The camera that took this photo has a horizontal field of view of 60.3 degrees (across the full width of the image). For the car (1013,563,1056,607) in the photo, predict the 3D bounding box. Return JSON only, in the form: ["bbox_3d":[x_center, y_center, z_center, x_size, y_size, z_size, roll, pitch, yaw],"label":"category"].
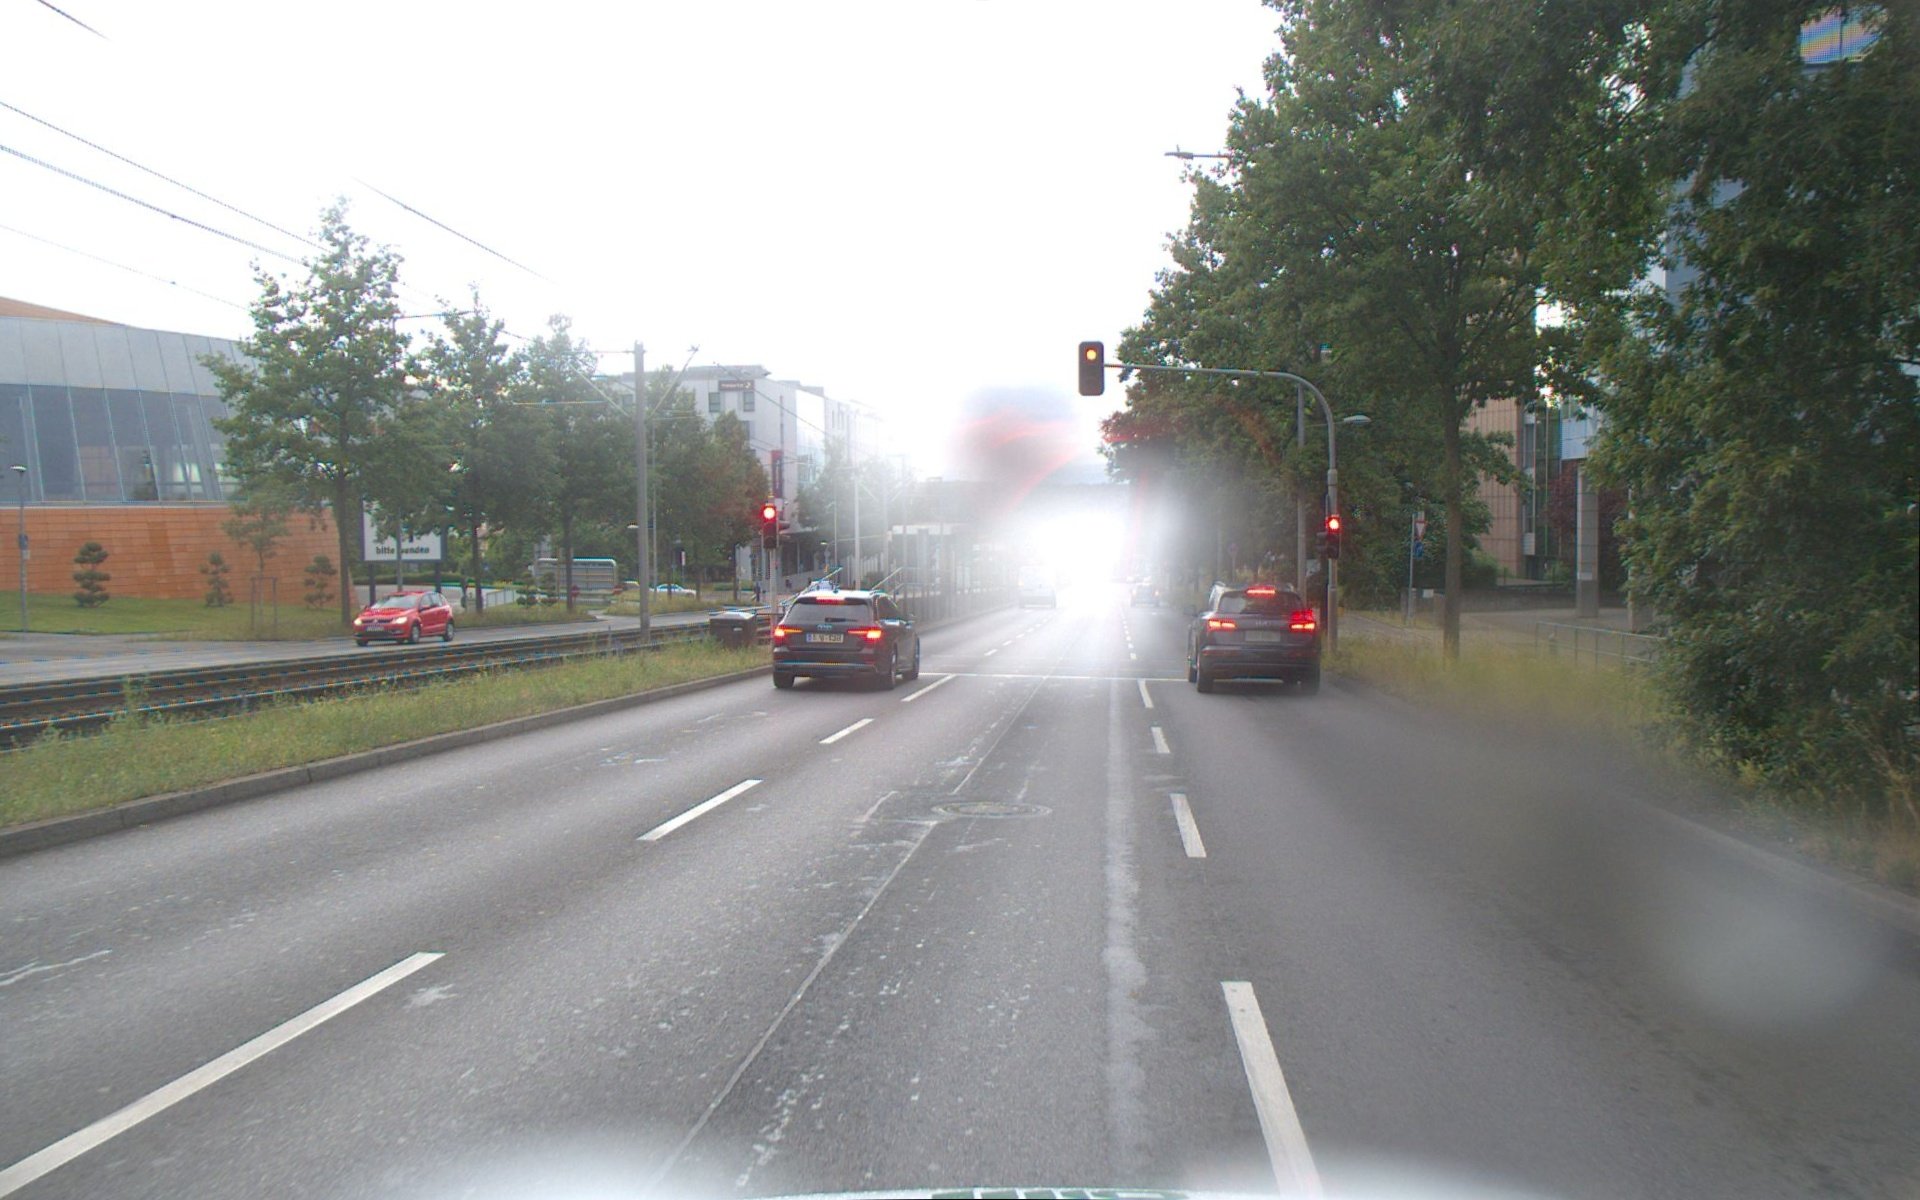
[{"bbox_3d":[4.192,-0.873,92.791,2.220,2.324,4.763,1,2,5],"label":"car"}]

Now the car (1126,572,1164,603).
[{"bbox_3d":[11.466,-0.801,102.754,2.006,1.772,4.576,1,2,3],"label":"car"}]

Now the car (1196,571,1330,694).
[{"bbox_3d":[4.710,0.443,25.935,1.881,1.740,4.102,1,1,9],"label":"car"}]

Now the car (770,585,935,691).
[{"bbox_3d":[-1.538,0.507,25.344,1.748,1.438,4.809,1,1,6],"label":"car"}]

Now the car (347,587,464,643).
[{"bbox_3d":[-15.509,0.390,46.436,1.627,1.467,3.899,1,0,6],"label":"car"}]

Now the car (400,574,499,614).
[{"bbox_3d":[-25.467,-0.302,82.560,4.232,1.841,2.100,1,2,2],"label":"car"}]
